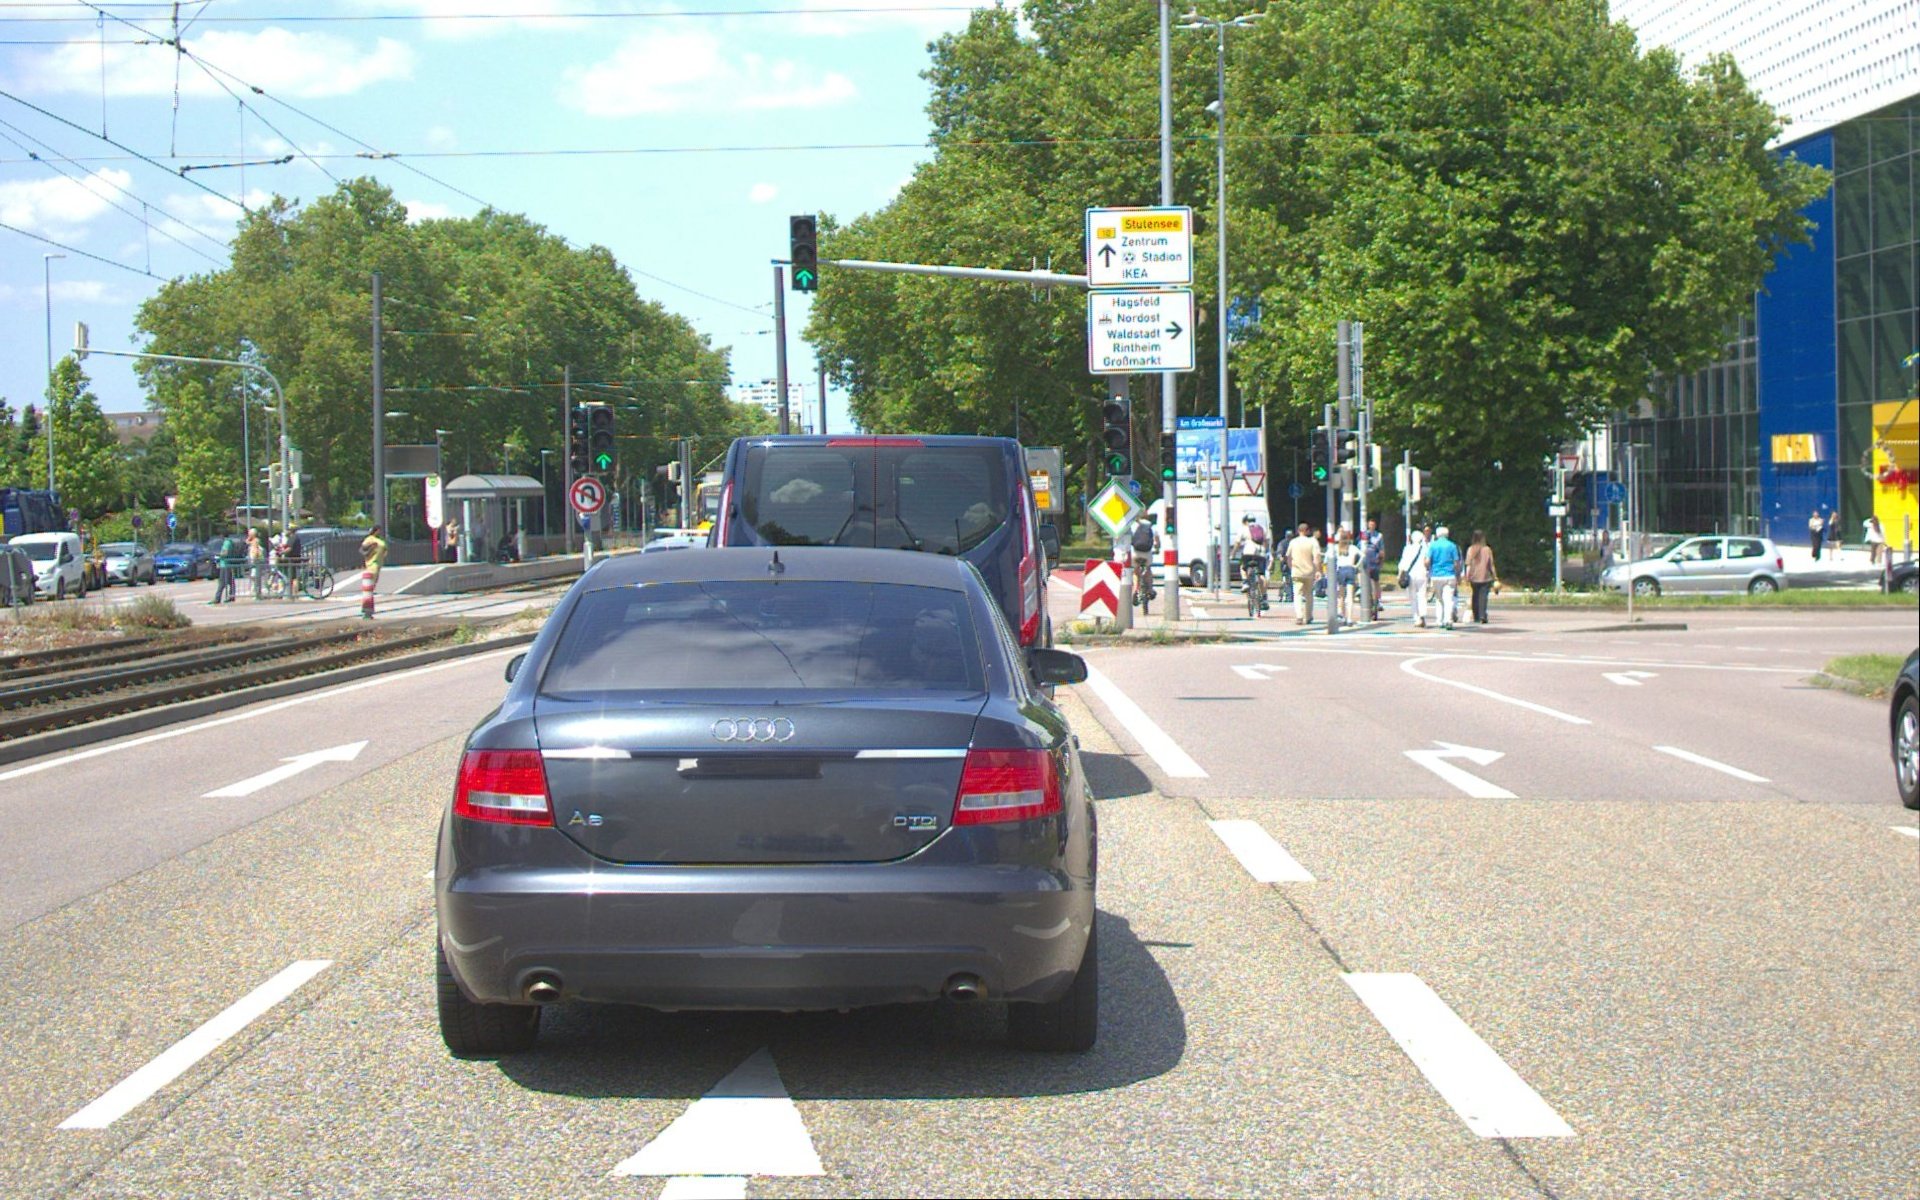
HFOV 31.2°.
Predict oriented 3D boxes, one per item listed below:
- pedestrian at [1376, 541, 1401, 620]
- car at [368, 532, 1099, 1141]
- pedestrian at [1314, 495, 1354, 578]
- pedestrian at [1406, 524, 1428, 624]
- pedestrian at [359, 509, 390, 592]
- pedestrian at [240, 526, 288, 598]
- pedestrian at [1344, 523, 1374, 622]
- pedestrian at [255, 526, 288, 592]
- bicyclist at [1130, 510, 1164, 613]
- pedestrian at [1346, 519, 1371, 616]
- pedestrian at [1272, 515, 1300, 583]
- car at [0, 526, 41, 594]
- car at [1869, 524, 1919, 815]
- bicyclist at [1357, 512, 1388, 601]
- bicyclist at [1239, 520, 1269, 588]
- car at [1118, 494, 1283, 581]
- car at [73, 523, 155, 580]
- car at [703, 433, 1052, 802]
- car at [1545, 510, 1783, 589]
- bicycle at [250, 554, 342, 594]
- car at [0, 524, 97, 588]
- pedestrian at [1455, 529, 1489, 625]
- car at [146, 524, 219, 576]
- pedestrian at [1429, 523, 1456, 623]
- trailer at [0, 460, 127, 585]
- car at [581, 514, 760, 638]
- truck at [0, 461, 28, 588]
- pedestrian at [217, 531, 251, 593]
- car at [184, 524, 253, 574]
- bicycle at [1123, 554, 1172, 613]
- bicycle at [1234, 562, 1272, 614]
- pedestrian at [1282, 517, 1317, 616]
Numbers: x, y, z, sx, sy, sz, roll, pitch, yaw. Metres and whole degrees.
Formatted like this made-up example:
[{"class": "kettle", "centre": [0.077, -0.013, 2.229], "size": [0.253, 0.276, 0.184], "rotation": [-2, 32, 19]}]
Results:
[{"class": "pedestrian", "centre": [7.042, -0.323, 56.473], "size": [0.372, 1.299, 0.365], "rotation": [0, 1, 3]}, {"class": "car", "centre": [-0.630, 0.552, 10.596], "size": [1.792, 1.450, 4.001], "rotation": [-1, 2, -2]}, {"class": "pedestrian", "centre": [8.353, -1.419, 76.840], "size": [0.685, 1.840, 0.706], "rotation": [1, 1, 25]}, {"class": "pedestrian", "centre": [7.505, -0.430, 56.448], "size": [0.320, 1.629, 0.377], "rotation": [0, 1, 3]}, {"class": "pedestrian", "centre": [-14.102, -1.197, 82.858], "size": [0.685, 2.007, 0.573], "rotation": [0, 1, -4]}, {"class": "pedestrian", "centre": [-16.714, -0.907, 82.551], "size": [0.824, 1.714, 0.774], "rotation": [1, 1, 22]}, {"class": "pedestrian", "centre": [6.566, -0.457, 56.575], "size": [0.445, 1.629, 0.430], "rotation": [0, 1, 3]}, {"class": "pedestrian", "centre": [-16.199, -0.961, 80.887], "size": [0.685, 1.559, 0.573], "rotation": [0, 1, -4]}, {"class": "bicyclist", "centre": [3.271, -0.673, 60.144], "size": [0.528, 1.783, 1.088], "rotation": [0, 1, 0]}, {"class": "pedestrian", "centre": [6.717, -0.556, 57.975], "size": [0.381, 1.629, 0.377], "rotation": [0, 1, 3]}, {"class": "pedestrian", "centre": [7.306, -1.151, 77.057], "size": [0.494, 1.514, 0.706], "rotation": [1, 1, 17]}, {"class": "car", "centre": [-24.779, -1.040, 87.112], "size": [1.822, 1.664, 4.462], "rotation": [1, 1, 0]}, {"class": "car", "centre": [5.910, 0.390, 17.006], "size": [1.761, 1.521, 4.100], "rotation": [0, 1, 0]}, {"class": "bicyclist", "centre": [8.158, -0.861, 67.939], "size": [0.529, 1.758, 0.827], "rotation": [0, 1, 13]}, {"class": "bicyclist", "centre": [5.158, -0.815, 60.373], "size": [0.470, 1.189, 0.791], "rotation": [0, 1, 1]}, {"class": "car", "centre": [6.474, -1.704, 93.074], "size": [1.993, 2.301, 4.775], "rotation": [-1, 1, -32]}, {"class": "car", "centre": [-28.441, -1.662, 115.662], "size": [1.817, 1.876, 4.000], "rotation": [0, 1, -1]}, {"class": "car", "centre": [-0.459, 0.057, 20.113], "size": [1.836, 1.943, 4.000], "rotation": [0, 1, -1]}, {"class": "car", "centre": [14.429, -1.050, 70.658], "size": [4.498, 1.481, 2.000], "rotation": [1, 2, 3]}, {"class": "bicycle", "centre": [-15.231, -0.599, 78.927], "size": [2.055, 0.922, 0.753], "rotation": [0, 1, -10]}, {"class": "car", "centre": [-25.179, -1.223, 94.293], "size": [1.822, 1.664, 4.461], "rotation": [1, 1, 1]}, {"class": "pedestrian", "centre": [8.872, -0.403, 59.601], "size": [0.521, 1.664, 0.494], "rotation": [0, 1, 3]}, {"class": "car", "centre": [-28.309, -1.839, 125.309], "size": [1.817, 1.876, 4.000], "rotation": [0, 1, -1]}, {"class": "pedestrian", "centre": [7.915, -0.449, 56.404], "size": [0.398, 1.629, 0.371], "rotation": [0, 1, 3]}, {"class": "trailer", "centre": [-28.442, -2.339, 104.147], "size": [2.767, 3.506, 15.879], "rotation": [0, 1, -1]}, {"class": "car", "centre": [-3.721, -0.349, 44.869], "size": [1.993, 1.481, 4.000], "rotation": [1, 2, 0]}, {"class": "truck", "centre": [-28.342, -2.132, 96.373], "size": [2.767, 3.557, 6.440], "rotation": [0, 1, -1]}, {"class": "pedestrian", "centre": [-16.839, -0.891, 79.777], "size": [0.685, 1.438, 0.573], "rotation": [0, 1, -4]}, {"class": "car", "centre": [-28.290, -1.945, 131.176], "size": [1.817, 1.876, 4.000], "rotation": [0, 1, -1]}, {"class": "bicycle", "centre": [3.268, -0.302, 60.141], "size": [0.688, 0.990, 2.752], "rotation": [0, 1, 0]}, {"class": "bicycle", "centre": [5.135, -0.221, 60.254], "size": [0.550, 0.874, 1.697], "rotation": [0, 1, 2]}, {"class": "pedestrian", "centre": [5.631, -0.556, 57.052], "size": [0.554, 1.629, 0.433], "rotation": [0, 1, 3]}]
